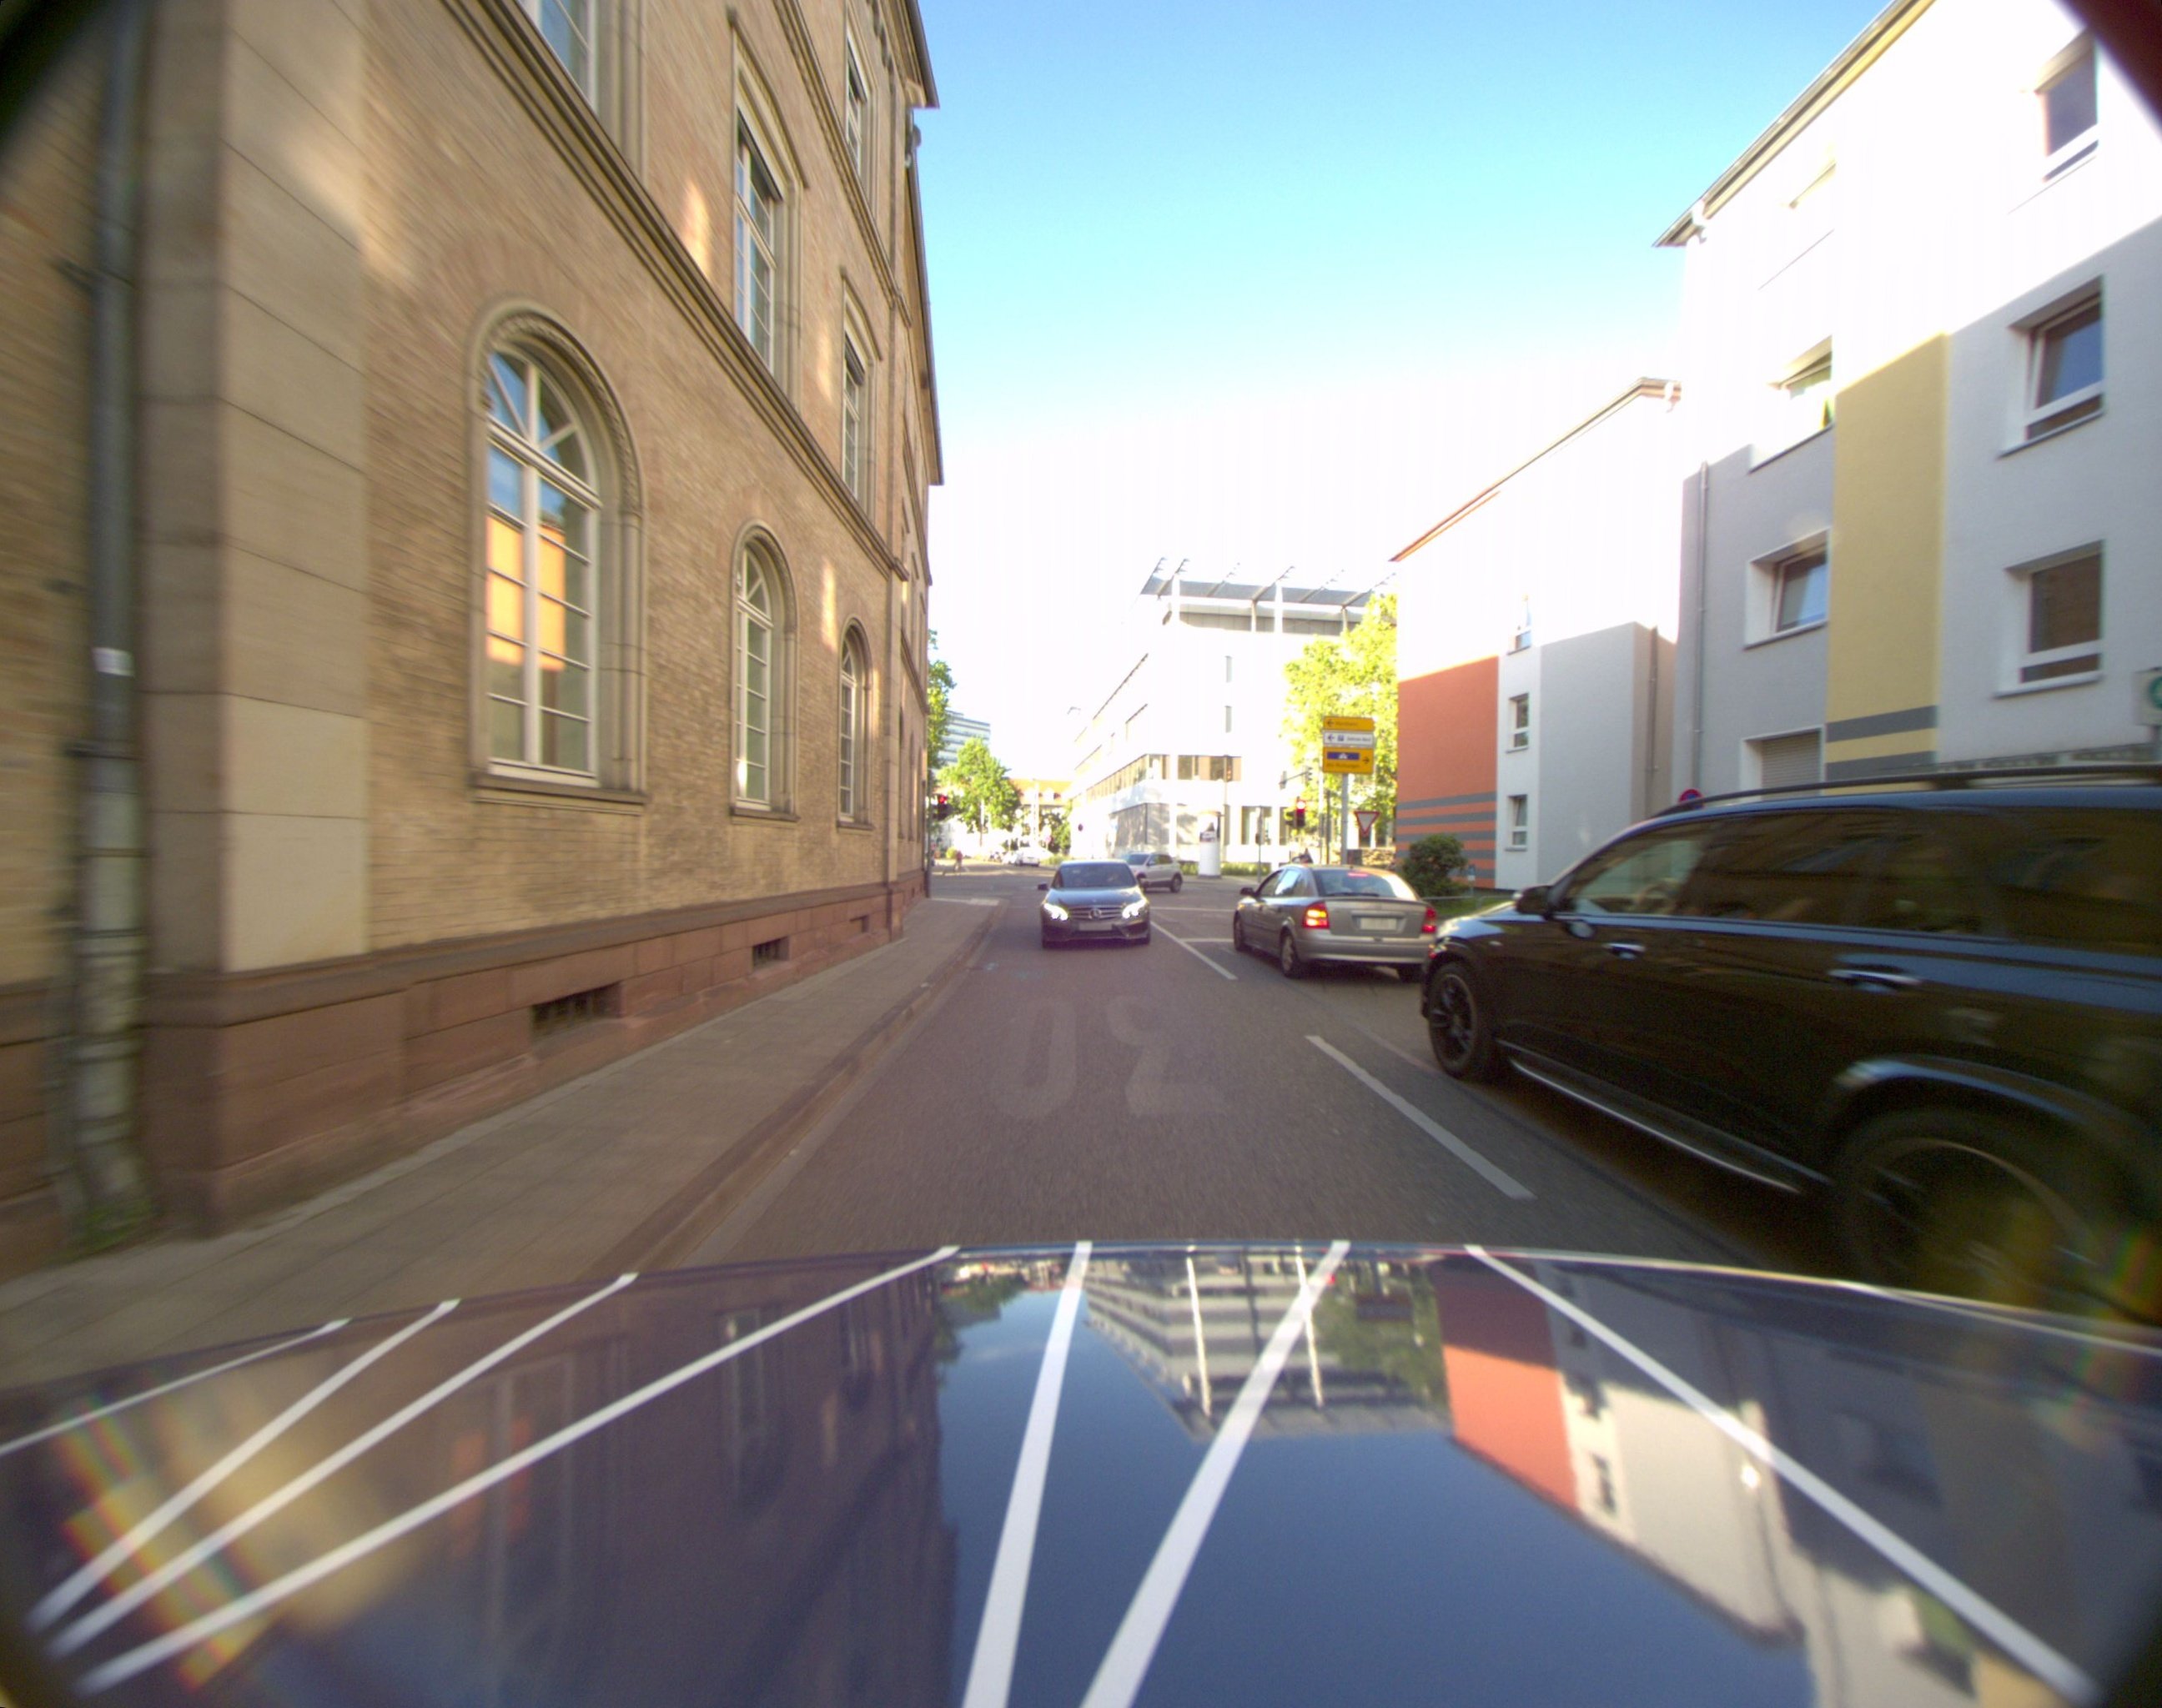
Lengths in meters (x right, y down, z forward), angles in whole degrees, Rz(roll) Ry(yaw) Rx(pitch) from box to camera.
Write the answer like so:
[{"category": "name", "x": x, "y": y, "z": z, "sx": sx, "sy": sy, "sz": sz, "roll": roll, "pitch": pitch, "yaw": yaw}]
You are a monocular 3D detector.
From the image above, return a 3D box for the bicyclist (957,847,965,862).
[{"category": "bicyclist", "x": -12.381, "y": 0.039, "z": 78.498, "sx": 0.762, "sy": 1.583, "sz": 0.900, "roll": 0, "pitch": 1, "yaw": -13}]

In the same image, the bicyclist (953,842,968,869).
[{"category": "bicyclist", "x": -7.976, "y": 0.093, "z": 50.214, "sx": 0.978, "sy": 1.797, "sz": 1.130, "roll": 0, "pitch": 1, "yaw": -10}]

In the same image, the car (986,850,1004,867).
[{"category": "car", "x": -10.789, "y": 0.564, "z": 95.000, "sx": 2.000, "sy": 2.002, "sz": 3.996, "roll": 0, "pitch": 0, "yaw": -11}]

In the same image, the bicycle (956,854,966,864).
[{"category": "bicycle", "x": -12.371, "y": 0.532, "z": 78.459, "sx": 0.762, "sy": 0.944, "sz": 3.054, "roll": 0, "pitch": 0, "yaw": -13}]

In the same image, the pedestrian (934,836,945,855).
[{"category": "pedestrian", "x": -24.426, "y": -1.452, "z": 131.176, "sx": 1.462, "sy": 3.289, "sz": 1.403, "roll": 0, "pitch": 1, "yaw": -27}]

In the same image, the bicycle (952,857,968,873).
[{"category": "bicycle", "x": -8.030, "y": 0.722, "z": 50.385, "sx": 0.943, "sy": 1.032, "sz": 3.003, "roll": 0, "pitch": 0, "yaw": -11}]

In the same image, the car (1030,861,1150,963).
[{"category": "car", "x": 0.298, "y": 0.895, "z": 13.708, "sx": 1.798, "sy": 1.460, "sz": 4.720, "roll": 0, "pitch": 0, "yaw": 4}]

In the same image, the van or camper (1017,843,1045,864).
[{"category": "van or camper", "x": -4.952, "y": -0.074, "z": 74.906, "sx": 2.163, "sy": 2.002, "sz": 4.971, "roll": 1, "pitch": 1, "yaw": -10}]

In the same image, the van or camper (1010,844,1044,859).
[{"category": "van or camper", "x": -7.970, "y": -0.346, "z": 112.036, "sx": 4.737, "sy": 2.075, "sz": 1.996, "roll": 0, "pitch": 1, "yaw": -20}]

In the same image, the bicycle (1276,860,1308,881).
[{"category": "bicycle", "x": 12.800, "y": 0.988, "z": 46.174, "sx": 0.471, "sy": 1.175, "sz": 1.987, "roll": -1, "pitch": 1, "yaw": -37}]

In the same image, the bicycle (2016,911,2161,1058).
[{"category": "bicycle", "x": 9.257, "y": 1.089, "z": 6.548, "sx": 1.757, "sy": 1.139, "sz": 0.650, "roll": 1, "pitch": 1, "yaw": -7}]

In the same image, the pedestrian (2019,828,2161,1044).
[{"category": "pedestrian", "x": 9.376, "y": 0.705, "z": 6.897, "sx": 0.720, "sy": 1.844, "sz": 0.871, "roll": 1, "pitch": 1, "yaw": 23}]

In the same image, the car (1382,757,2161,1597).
[{"category": "car", "x": 3.337, "y": 0.727, "z": 3.385, "sx": 1.904, "sy": 1.824, "sz": 5.094, "roll": 3, "pitch": 0, "yaw": 0}]

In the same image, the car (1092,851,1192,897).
[{"category": "car", "x": 2.386, "y": 0.705, "z": 28.911, "sx": 1.743, "sy": 1.594, "sz": 4.009, "roll": 1, "pitch": 1, "yaw": 40}]

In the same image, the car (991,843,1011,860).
[{"category": "car", "x": -9.452, "y": -0.294, "z": 89.263, "sx": 2.000, "sy": 2.002, "sz": 3.996, "roll": 0, "pitch": 0, "yaw": -11}]

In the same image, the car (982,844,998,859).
[{"category": "car", "x": -12.620, "y": -0.304, "z": 105.303, "sx": 2.000, "sy": 2.001, "sz": 3.997, "roll": 0, "pitch": -1, "yaw": -11}]

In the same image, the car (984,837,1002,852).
[{"category": "car", "x": -11.688, "y": -1.229, "z": 100.919, "sx": 2.000, "sy": 2.002, "sz": 3.996, "roll": 0, "pitch": 0, "yaw": -11}]

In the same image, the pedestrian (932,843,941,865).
[{"category": "pedestrian", "x": -12.403, "y": -0.007, "z": 65.227, "sx": 0.668, "sy": 1.844, "sz": 1.024, "roll": 0, "pitch": 1, "yaw": -19}]

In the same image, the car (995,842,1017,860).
[{"category": "car", "x": -8.372, "y": -0.357, "z": 84.695, "sx": 2.000, "sy": 2.002, "sz": 3.996, "roll": 0, "pitch": 0, "yaw": -11}]

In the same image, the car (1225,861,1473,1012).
[{"category": "car", "x": 3.249, "y": 0.900, "z": 10.172, "sx": 1.745, "sy": 1.477, "sz": 4.136, "roll": 3, "pitch": 0, "yaw": -1}]
